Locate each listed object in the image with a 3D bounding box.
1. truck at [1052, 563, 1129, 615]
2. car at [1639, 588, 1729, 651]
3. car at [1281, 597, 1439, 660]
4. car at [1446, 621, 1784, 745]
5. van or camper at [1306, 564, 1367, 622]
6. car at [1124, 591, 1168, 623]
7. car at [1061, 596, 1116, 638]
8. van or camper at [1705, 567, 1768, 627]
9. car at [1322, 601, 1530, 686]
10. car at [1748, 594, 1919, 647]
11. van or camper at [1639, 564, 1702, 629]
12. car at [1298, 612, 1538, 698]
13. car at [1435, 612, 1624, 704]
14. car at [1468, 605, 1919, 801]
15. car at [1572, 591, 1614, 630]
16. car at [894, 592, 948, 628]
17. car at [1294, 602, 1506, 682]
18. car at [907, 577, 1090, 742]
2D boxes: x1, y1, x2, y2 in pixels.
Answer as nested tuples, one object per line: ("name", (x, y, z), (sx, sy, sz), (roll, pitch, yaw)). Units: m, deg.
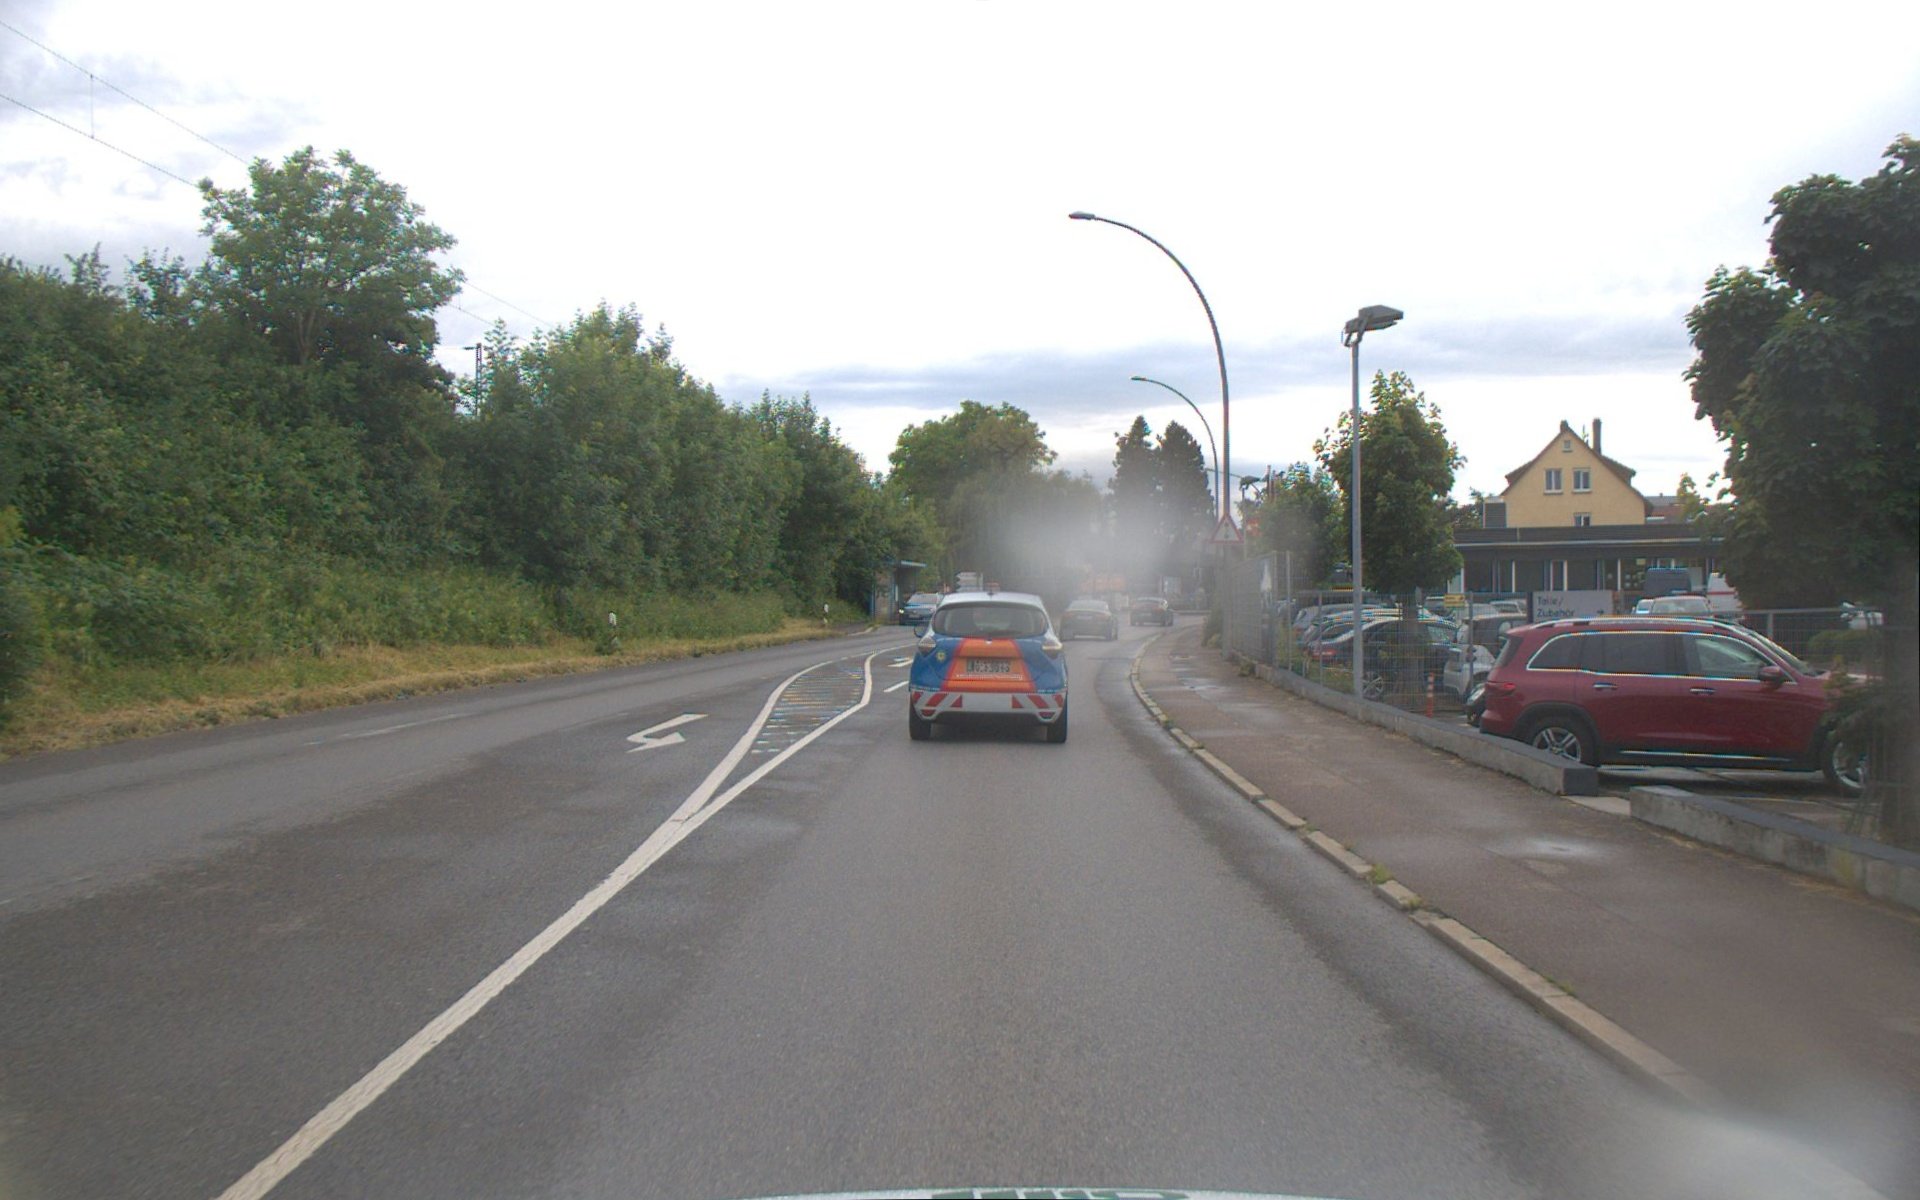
("truck", (9.939, -0.801, 124.966), (2.644, 3.471, 9.064), (2, -1, 25))
("car", (18.341, 0.518, 41.953), (1.953, 1.445, 3.998), (2, -1, 23))
("car", (10.418, 0.745, 43.253), (3.902, 1.428, 1.791), (2, -1, 12))
("car", (8.852, 1.058, 22.415), (4.073, 1.466, 1.807), (0, 0, 30))
("van or camper", (18.286, -0.336, 80.112), (1.999, 2.638, 6.590), (-1, 0, 21))
("car", (9.327, 0.391, 82.775), (1.951, 1.445, 4.003), (2, -1, 9))
("car", (4.527, 0.574, 57.706), (1.684, 1.400, 3.937), (0, 0, 8))
("van or camper", (28.593, -0.066, 60.929), (1.954, 1.972, 5.426), (2, -1, 25))
("car", (10.102, 0.949, 36.110), (4.085, 1.626, 1.970), (2, -1, 7))
("car", (26.782, 0.612, 50.833), (4.547, 1.425, 1.718), (2, -1, 28))
("van or camper", (29.812, -0.150, 69.415), (2.285, 2.602, 5.738), (-1, 0, 23))
("car", (8.591, 1.027, 31.293), (4.022, 1.394, 2.001), (2, -1, 4))
("car", (9.870, 1.005, 28.857), (2.661, 1.470, 2.001), (-2, -1, 5))
("car", (7.839, 1.002, 17.120), (4.594, 1.691, 1.996), (2, -1, 29))
("car", (26.672, 0.428, 69.660), (1.604, 1.599, 3.396), (-1, 0, 21))
("car", (-1.760, 0.488, 76.305), (1.952, 1.500, 4.702), (2, -1, 5))
("car", (8.950, 0.857, 33.847), (3.905, 1.433, 1.594), (2, -1, 1))
("car", (0.439, 0.598, 18.742), (1.849, 1.660, 4.001), (0, 0, 1))
